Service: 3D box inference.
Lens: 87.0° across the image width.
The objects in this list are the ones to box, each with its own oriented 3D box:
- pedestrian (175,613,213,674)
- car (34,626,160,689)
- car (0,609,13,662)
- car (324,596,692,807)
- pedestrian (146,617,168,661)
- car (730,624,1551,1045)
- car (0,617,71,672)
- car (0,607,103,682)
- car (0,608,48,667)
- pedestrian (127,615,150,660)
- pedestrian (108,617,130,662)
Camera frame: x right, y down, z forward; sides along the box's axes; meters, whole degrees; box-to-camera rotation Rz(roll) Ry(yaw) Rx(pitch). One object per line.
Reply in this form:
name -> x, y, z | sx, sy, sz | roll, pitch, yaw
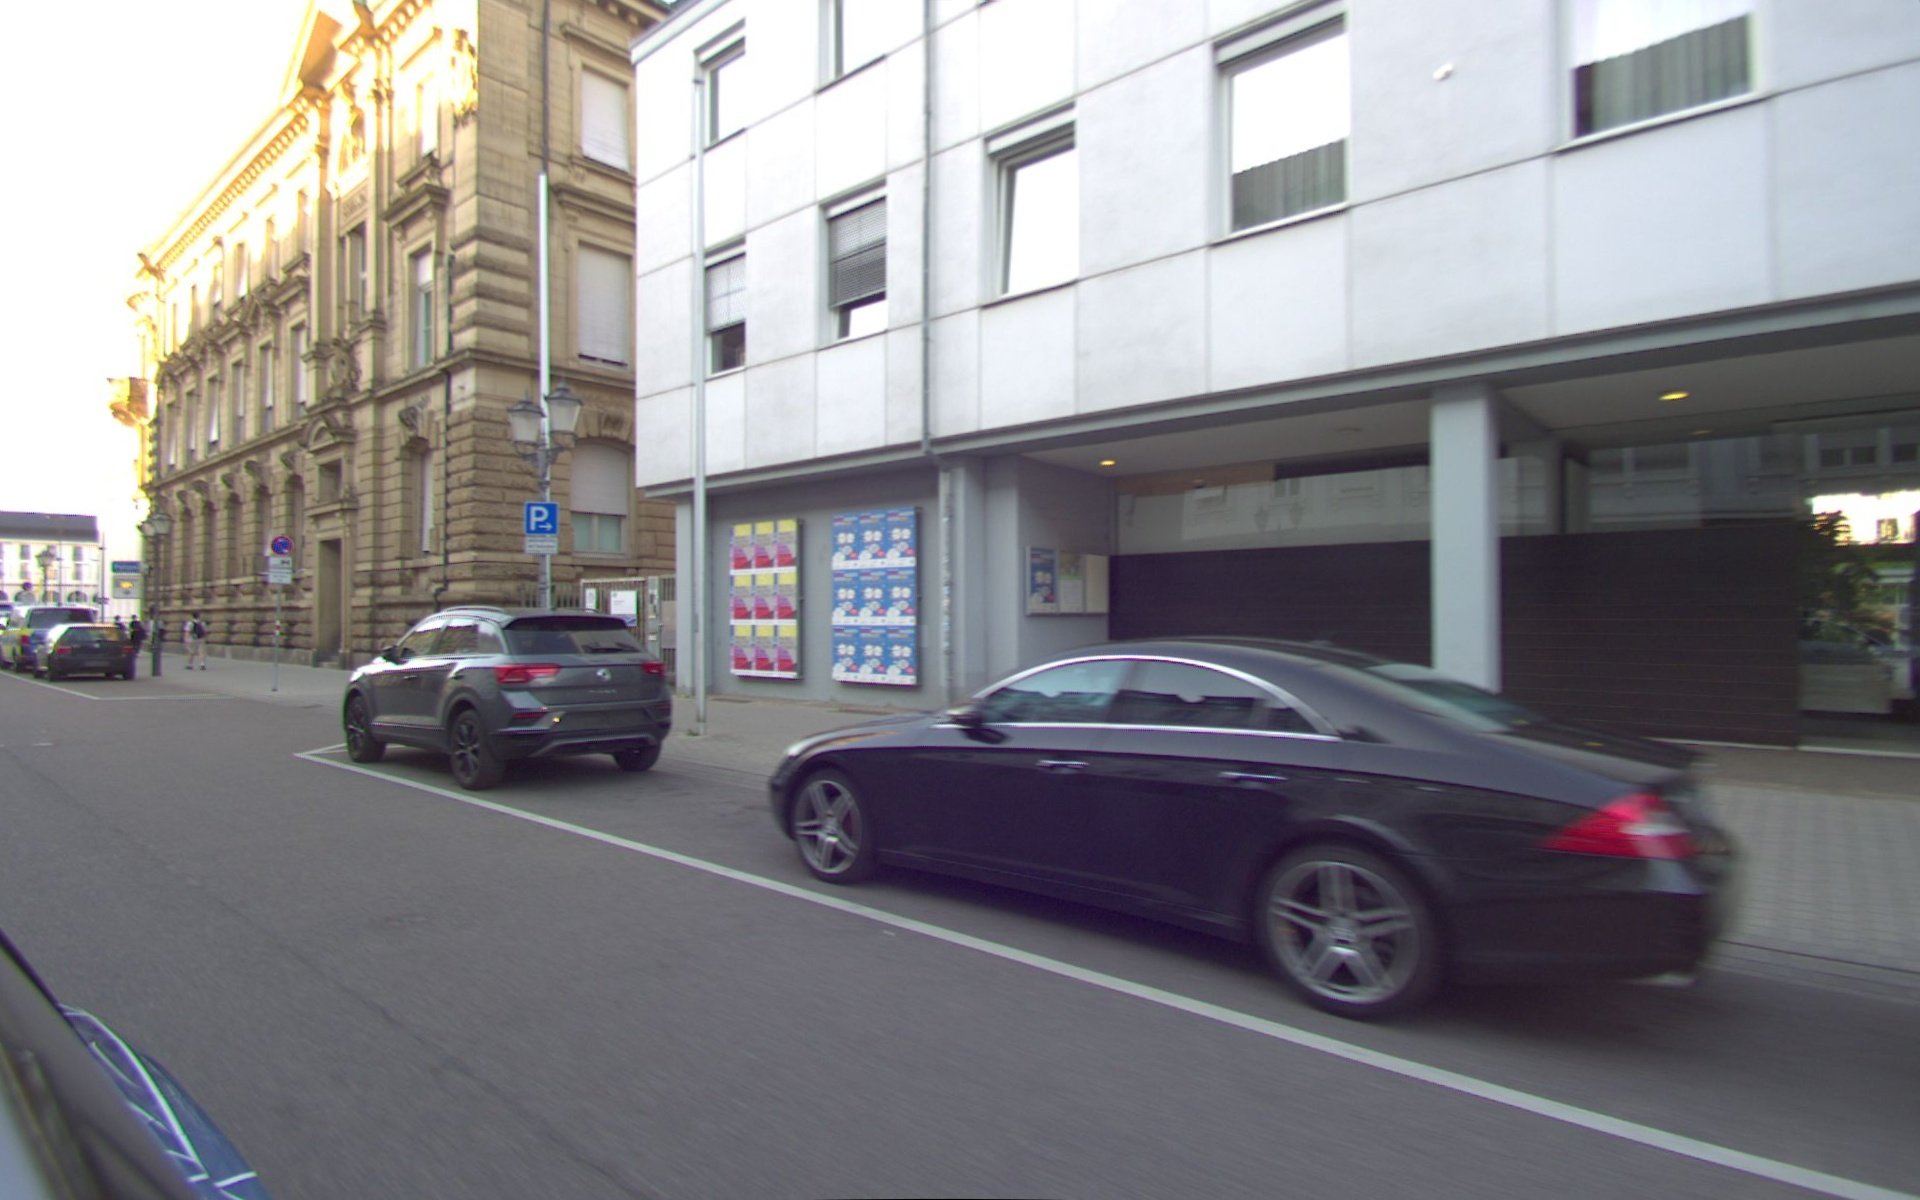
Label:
pedestrian -> -22.948, 1.292, 30.322 | 0.896, 1.743, 0.706 | -2, 1, 43
car -> -22.758, 1.446, 26.639 | 4.163, 1.506, 1.972 | -1, -2, 42
car -> -42.079, 1.498, 43.035 | 5.201, 2.188, 1.974 | -1, -1, 39
car -> -4.545, 0.830, 9.885 | 4.165, 1.627, 1.766 | -2, -2, 42
pedestrian -> -32.271, 1.564, 40.659 | 0.703, 1.743, 0.600 | -2, -2, 43
car -> 0.681, 0.852, 5.497 | 4.087, 1.419, 1.766 | -2, -2, 42
car -> -32.475, 1.487, 34.968 | 4.987, 1.765, 1.973 | -1, -2, 41
car -> -27.869, 1.267, 30.800 | 4.987, 2.093, 1.973 | 0, -1, 41
car -> -36.403, 1.392, 38.523 | 5.205, 2.103, 1.972 | -1, -2, 42
pedestrian -> -32.526, 1.481, 40.077 | 0.831, 1.743, 0.576 | -2, -2, 43
pedestrian -> -32.819, 1.527, 39.493 | 0.744, 1.743, 0.567 | -2, -2, 43
